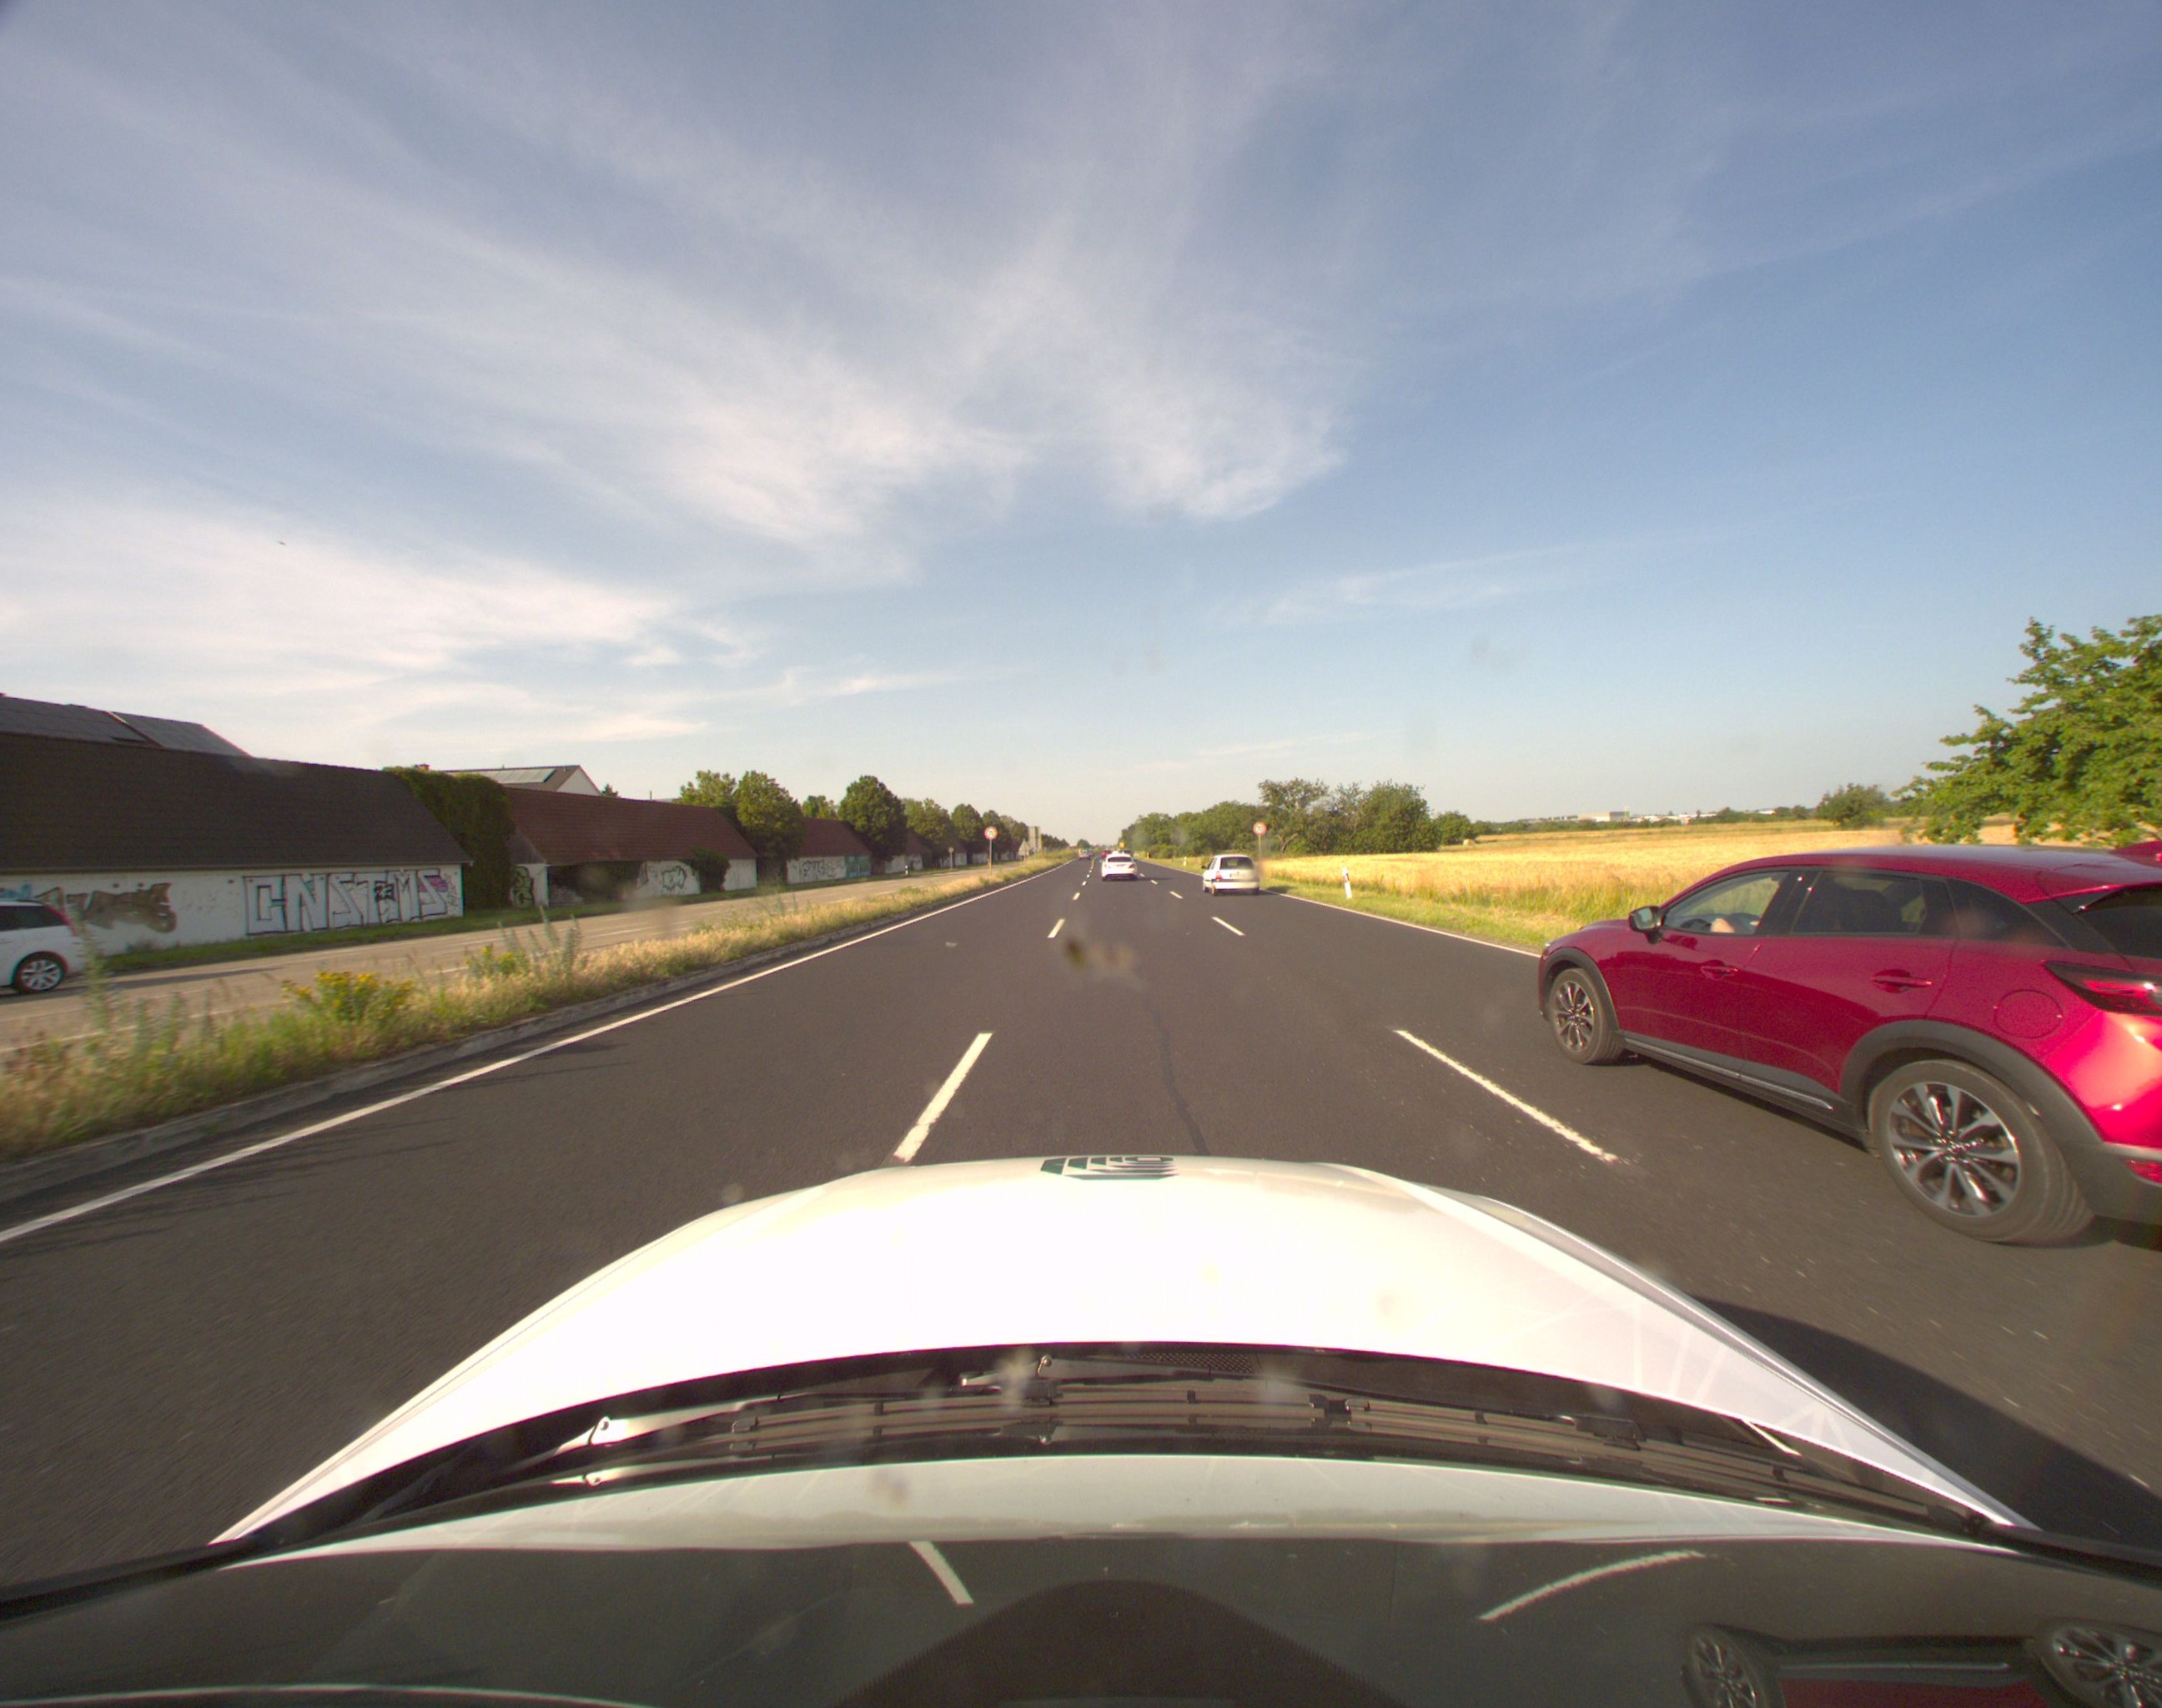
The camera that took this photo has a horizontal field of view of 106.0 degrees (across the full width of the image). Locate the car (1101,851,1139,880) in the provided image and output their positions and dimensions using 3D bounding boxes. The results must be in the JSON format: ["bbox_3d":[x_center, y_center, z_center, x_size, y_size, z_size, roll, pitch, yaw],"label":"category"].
[{"bbox_3d":[2.092,0.624,44.134,1.986,1.516,4.002,-1,-1,2],"label":"car"}]

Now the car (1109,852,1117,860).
[{"bbox_3d":[8.114,0.511,206.774,1.795,1.904,3.562,-1,-1,3],"label":"car"}]

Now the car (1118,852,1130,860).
[{"bbox_3d":[8.733,0.464,165.277,1.988,1.585,4.282,-1,-1,-1],"label":"car"}]

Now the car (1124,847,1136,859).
[{"bbox_3d":[7.916,-0.140,131.119,1.821,1.728,4.001,-1,-1,2],"label":"car"}]

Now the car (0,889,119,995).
[{"bbox_3d":[-18.975,1.552,12.809,1.829,1.707,4.760,-4,-1,2],"label":"car"}]

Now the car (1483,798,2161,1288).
[{"bbox_3d":[4.224,0.597,4.676,1.698,1.506,4.502,-1,-1,1],"label":"car"}]

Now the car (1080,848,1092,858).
[{"bbox_3d":[0.782,-0.125,132.044,1.751,1.618,4.004,-1,-1,4],"label":"car"}]

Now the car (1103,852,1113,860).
[{"bbox_3d":[5.061,0.314,152.760,1.805,1.436,3.859,-1,-1,1],"label":"car"}]

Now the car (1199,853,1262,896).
[{"bbox_3d":[5.260,0.703,29.049,1.611,1.387,3.952,-1,-1,1],"label":"car"}]
